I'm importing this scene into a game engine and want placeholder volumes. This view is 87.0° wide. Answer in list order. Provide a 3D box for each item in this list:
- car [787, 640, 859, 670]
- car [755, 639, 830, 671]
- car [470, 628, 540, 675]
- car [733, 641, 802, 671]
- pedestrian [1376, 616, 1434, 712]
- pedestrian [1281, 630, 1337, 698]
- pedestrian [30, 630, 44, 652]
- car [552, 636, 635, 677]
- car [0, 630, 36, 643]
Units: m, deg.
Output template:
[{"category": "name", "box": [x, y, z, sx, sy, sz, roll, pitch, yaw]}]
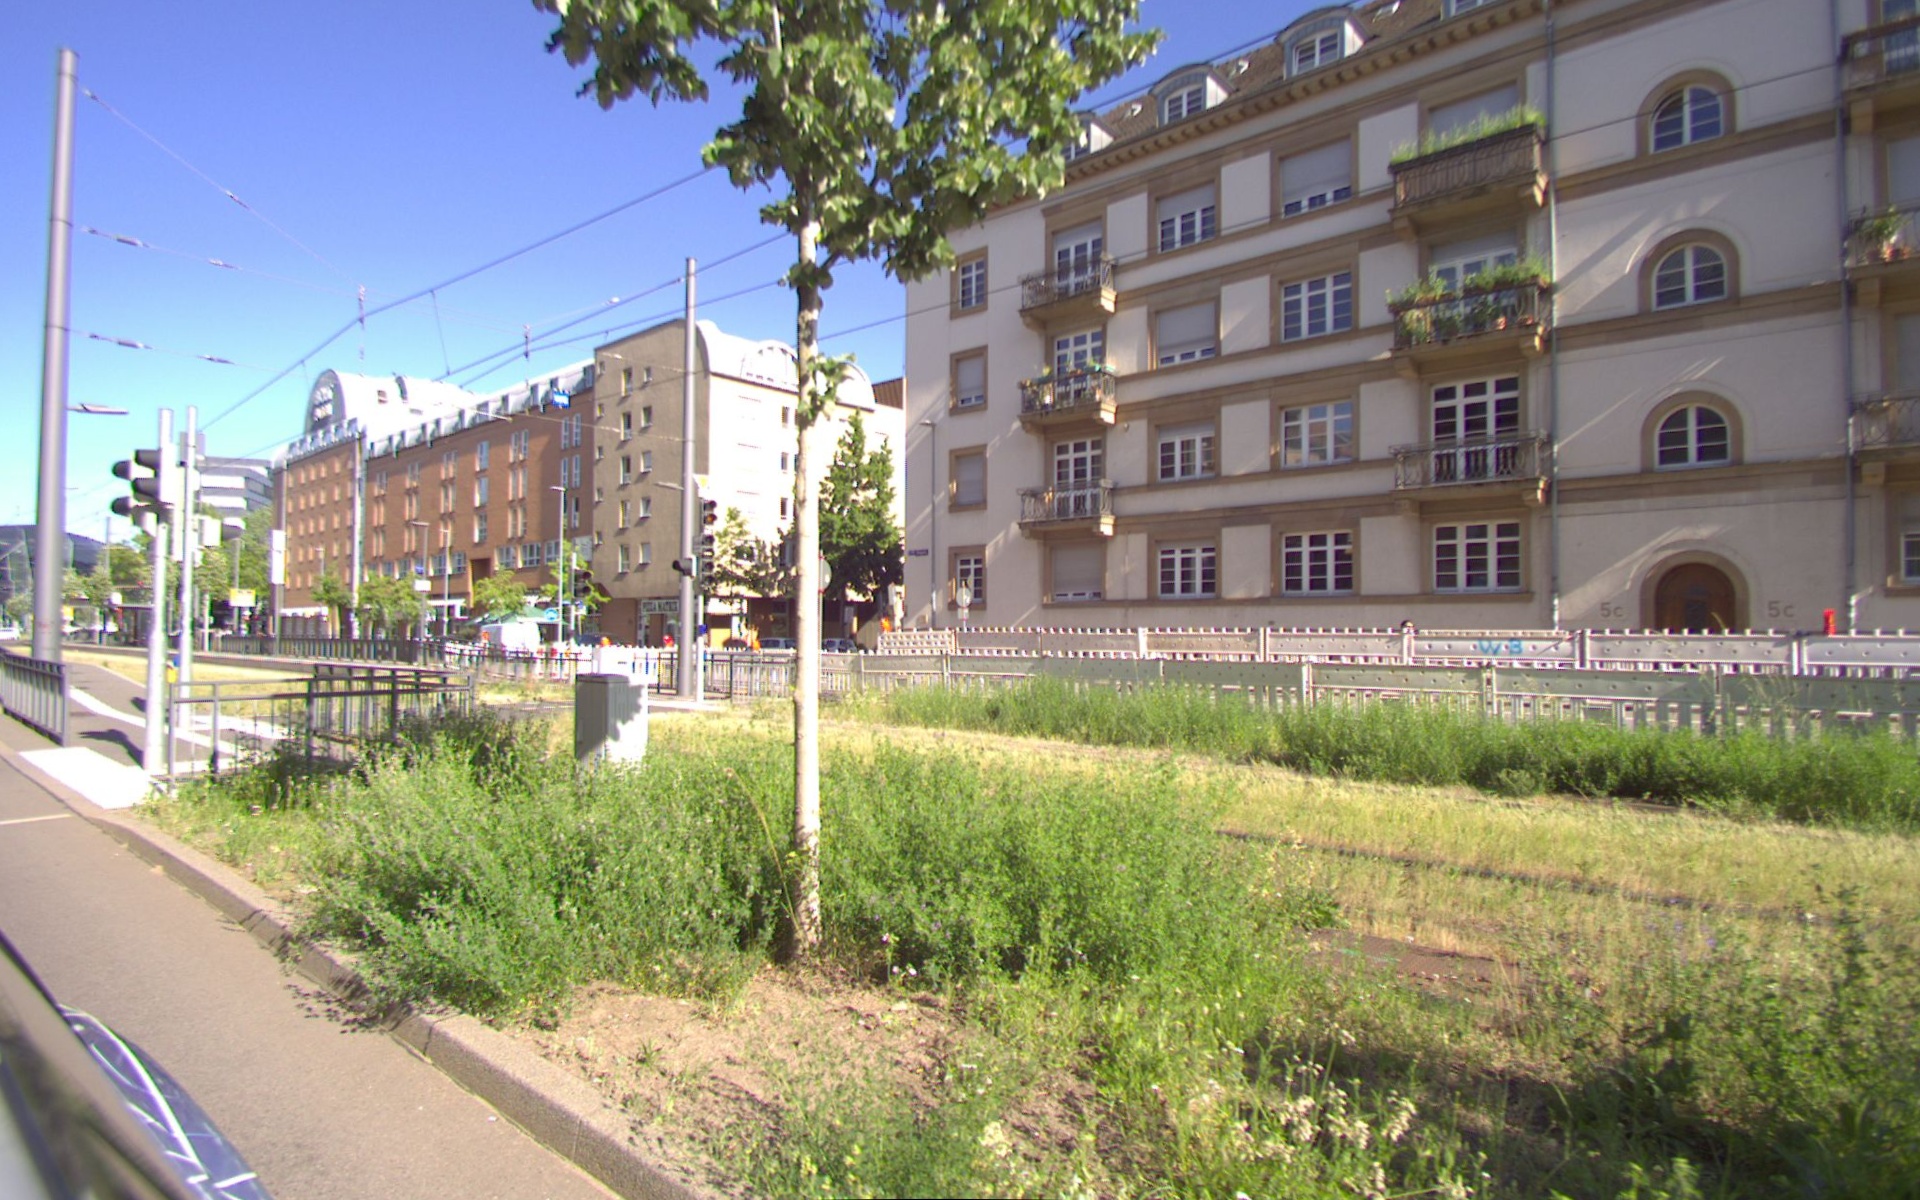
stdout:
[{"category": "car", "box": [-7.571, 3.007, 55.774, 3.997, 1.497, 1.693, -1, -1, 40]}, {"category": "car", "box": [-8.886, 2.876, 53.562, 3.955, 1.564, 1.457, -1, -1, 33]}, {"category": "car", "box": [-23.999, 2.637, 53.242, 1.969, 2.314, 5.197, 1, -1, -41]}, {"category": "car", "box": [-9.823, 2.818, 51.541, 3.334, 1.439, 1.423, -1, -1, 29]}, {"category": "pedestrian", "box": [8.997, 1.266, 20.467, 0.871, 1.877, 0.758, -1, -1, 41]}, {"category": "pedestrian", "box": [8.157, 1.482, 23.663, 1.020, 1.529, 0.778, -1, -1, 41]}, {"category": "pedestrian", "box": [-79.207, 3.540, 86.853, 0.810, 1.903, 0.769, 3, -3, -44]}, {"category": "car", "box": [-16.394, 2.480, 45.216, 3.996, 1.652, 1.677, -1, -1, 40]}, {"category": "car", "box": [-115.142, 4.425, 122.723, 1.759, 1.567, 4.359, -2, -2, 42]}]
